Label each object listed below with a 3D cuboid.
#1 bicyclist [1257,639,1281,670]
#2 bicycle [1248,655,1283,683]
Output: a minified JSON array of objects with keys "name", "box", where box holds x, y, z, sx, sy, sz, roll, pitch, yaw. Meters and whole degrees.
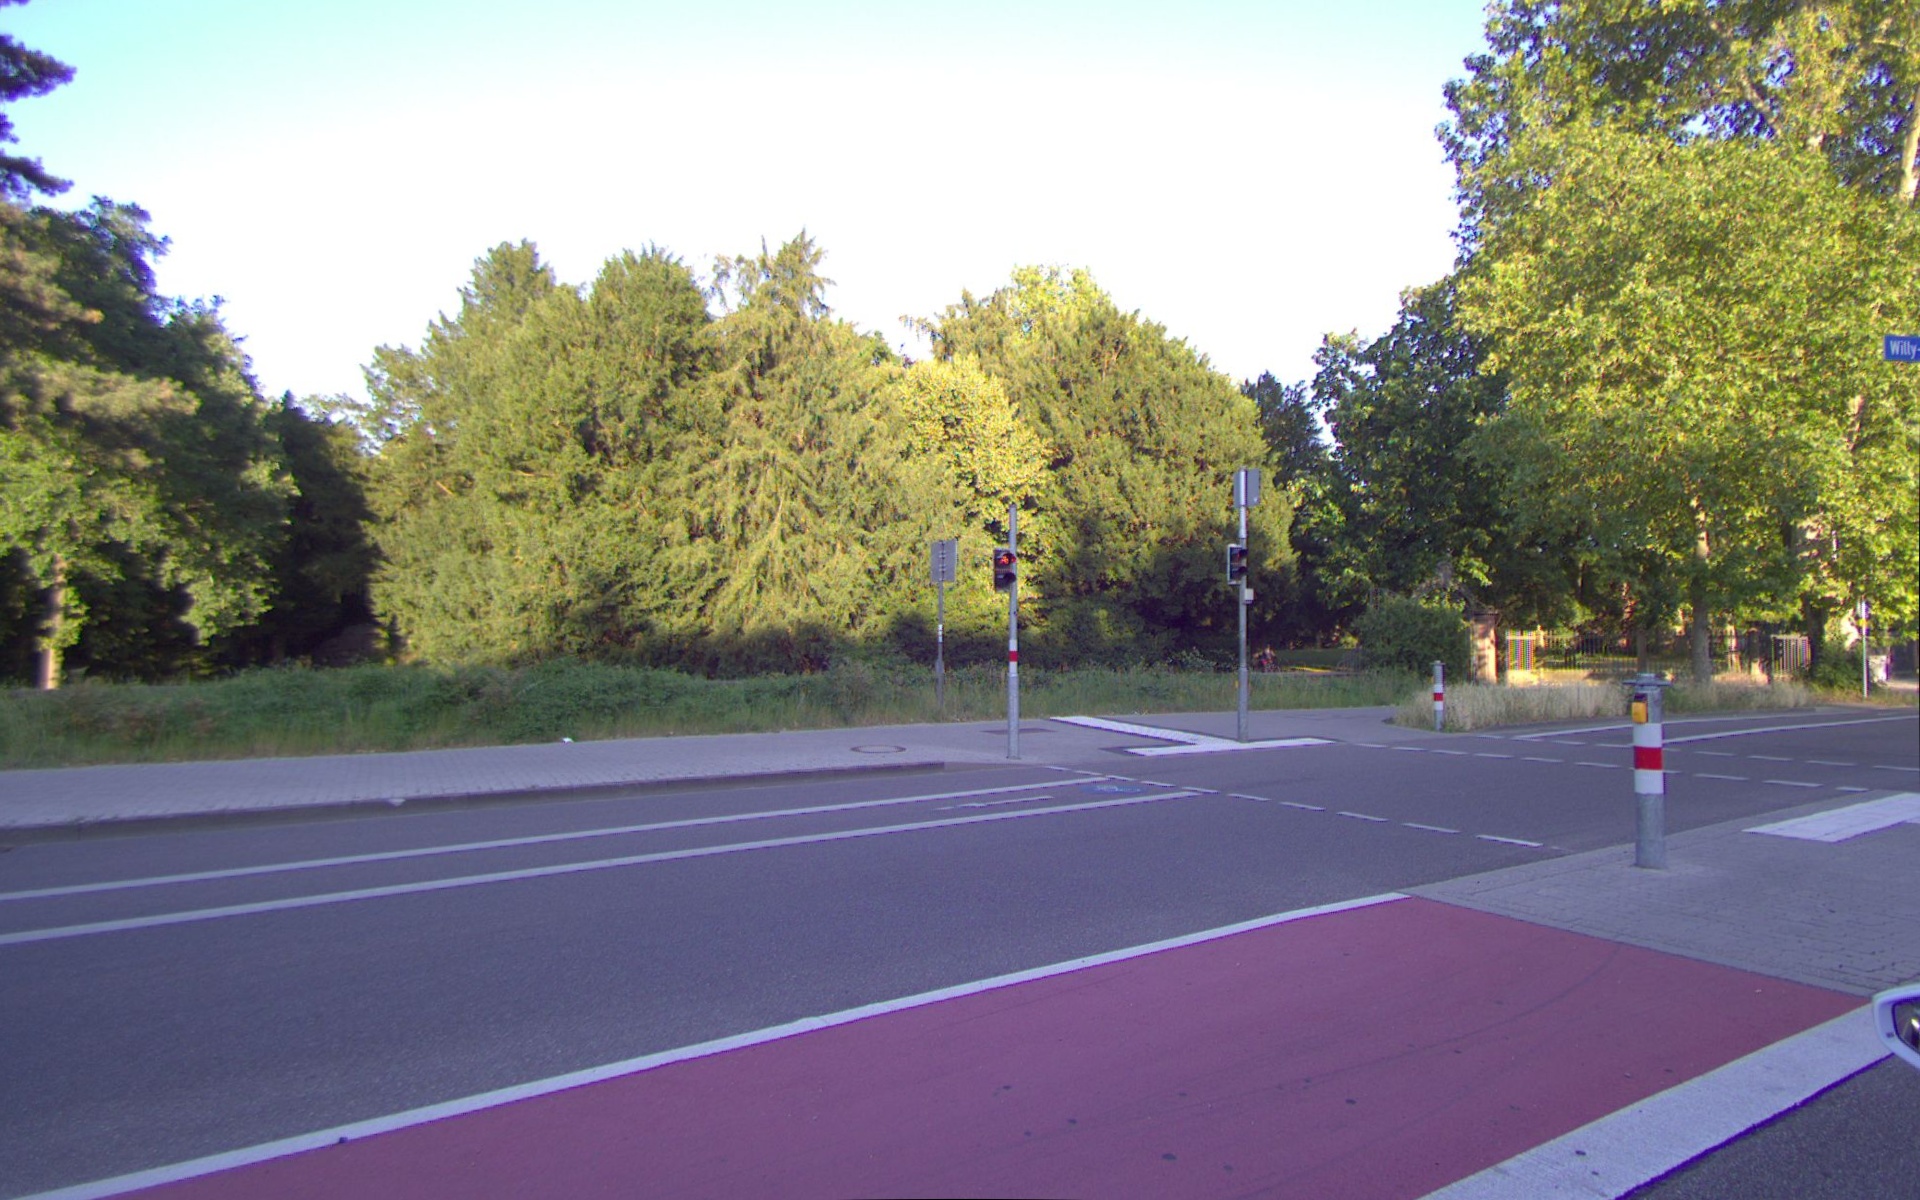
[{"name":"bicyclist","box":[14.597,2.589,47.480,0.777,1.445,0.891,1,-2,-9]},{"name":"bicycle","box":[14.541,3.277,47.831,0.777,1.273,1.977,1,-2,-9]}]
